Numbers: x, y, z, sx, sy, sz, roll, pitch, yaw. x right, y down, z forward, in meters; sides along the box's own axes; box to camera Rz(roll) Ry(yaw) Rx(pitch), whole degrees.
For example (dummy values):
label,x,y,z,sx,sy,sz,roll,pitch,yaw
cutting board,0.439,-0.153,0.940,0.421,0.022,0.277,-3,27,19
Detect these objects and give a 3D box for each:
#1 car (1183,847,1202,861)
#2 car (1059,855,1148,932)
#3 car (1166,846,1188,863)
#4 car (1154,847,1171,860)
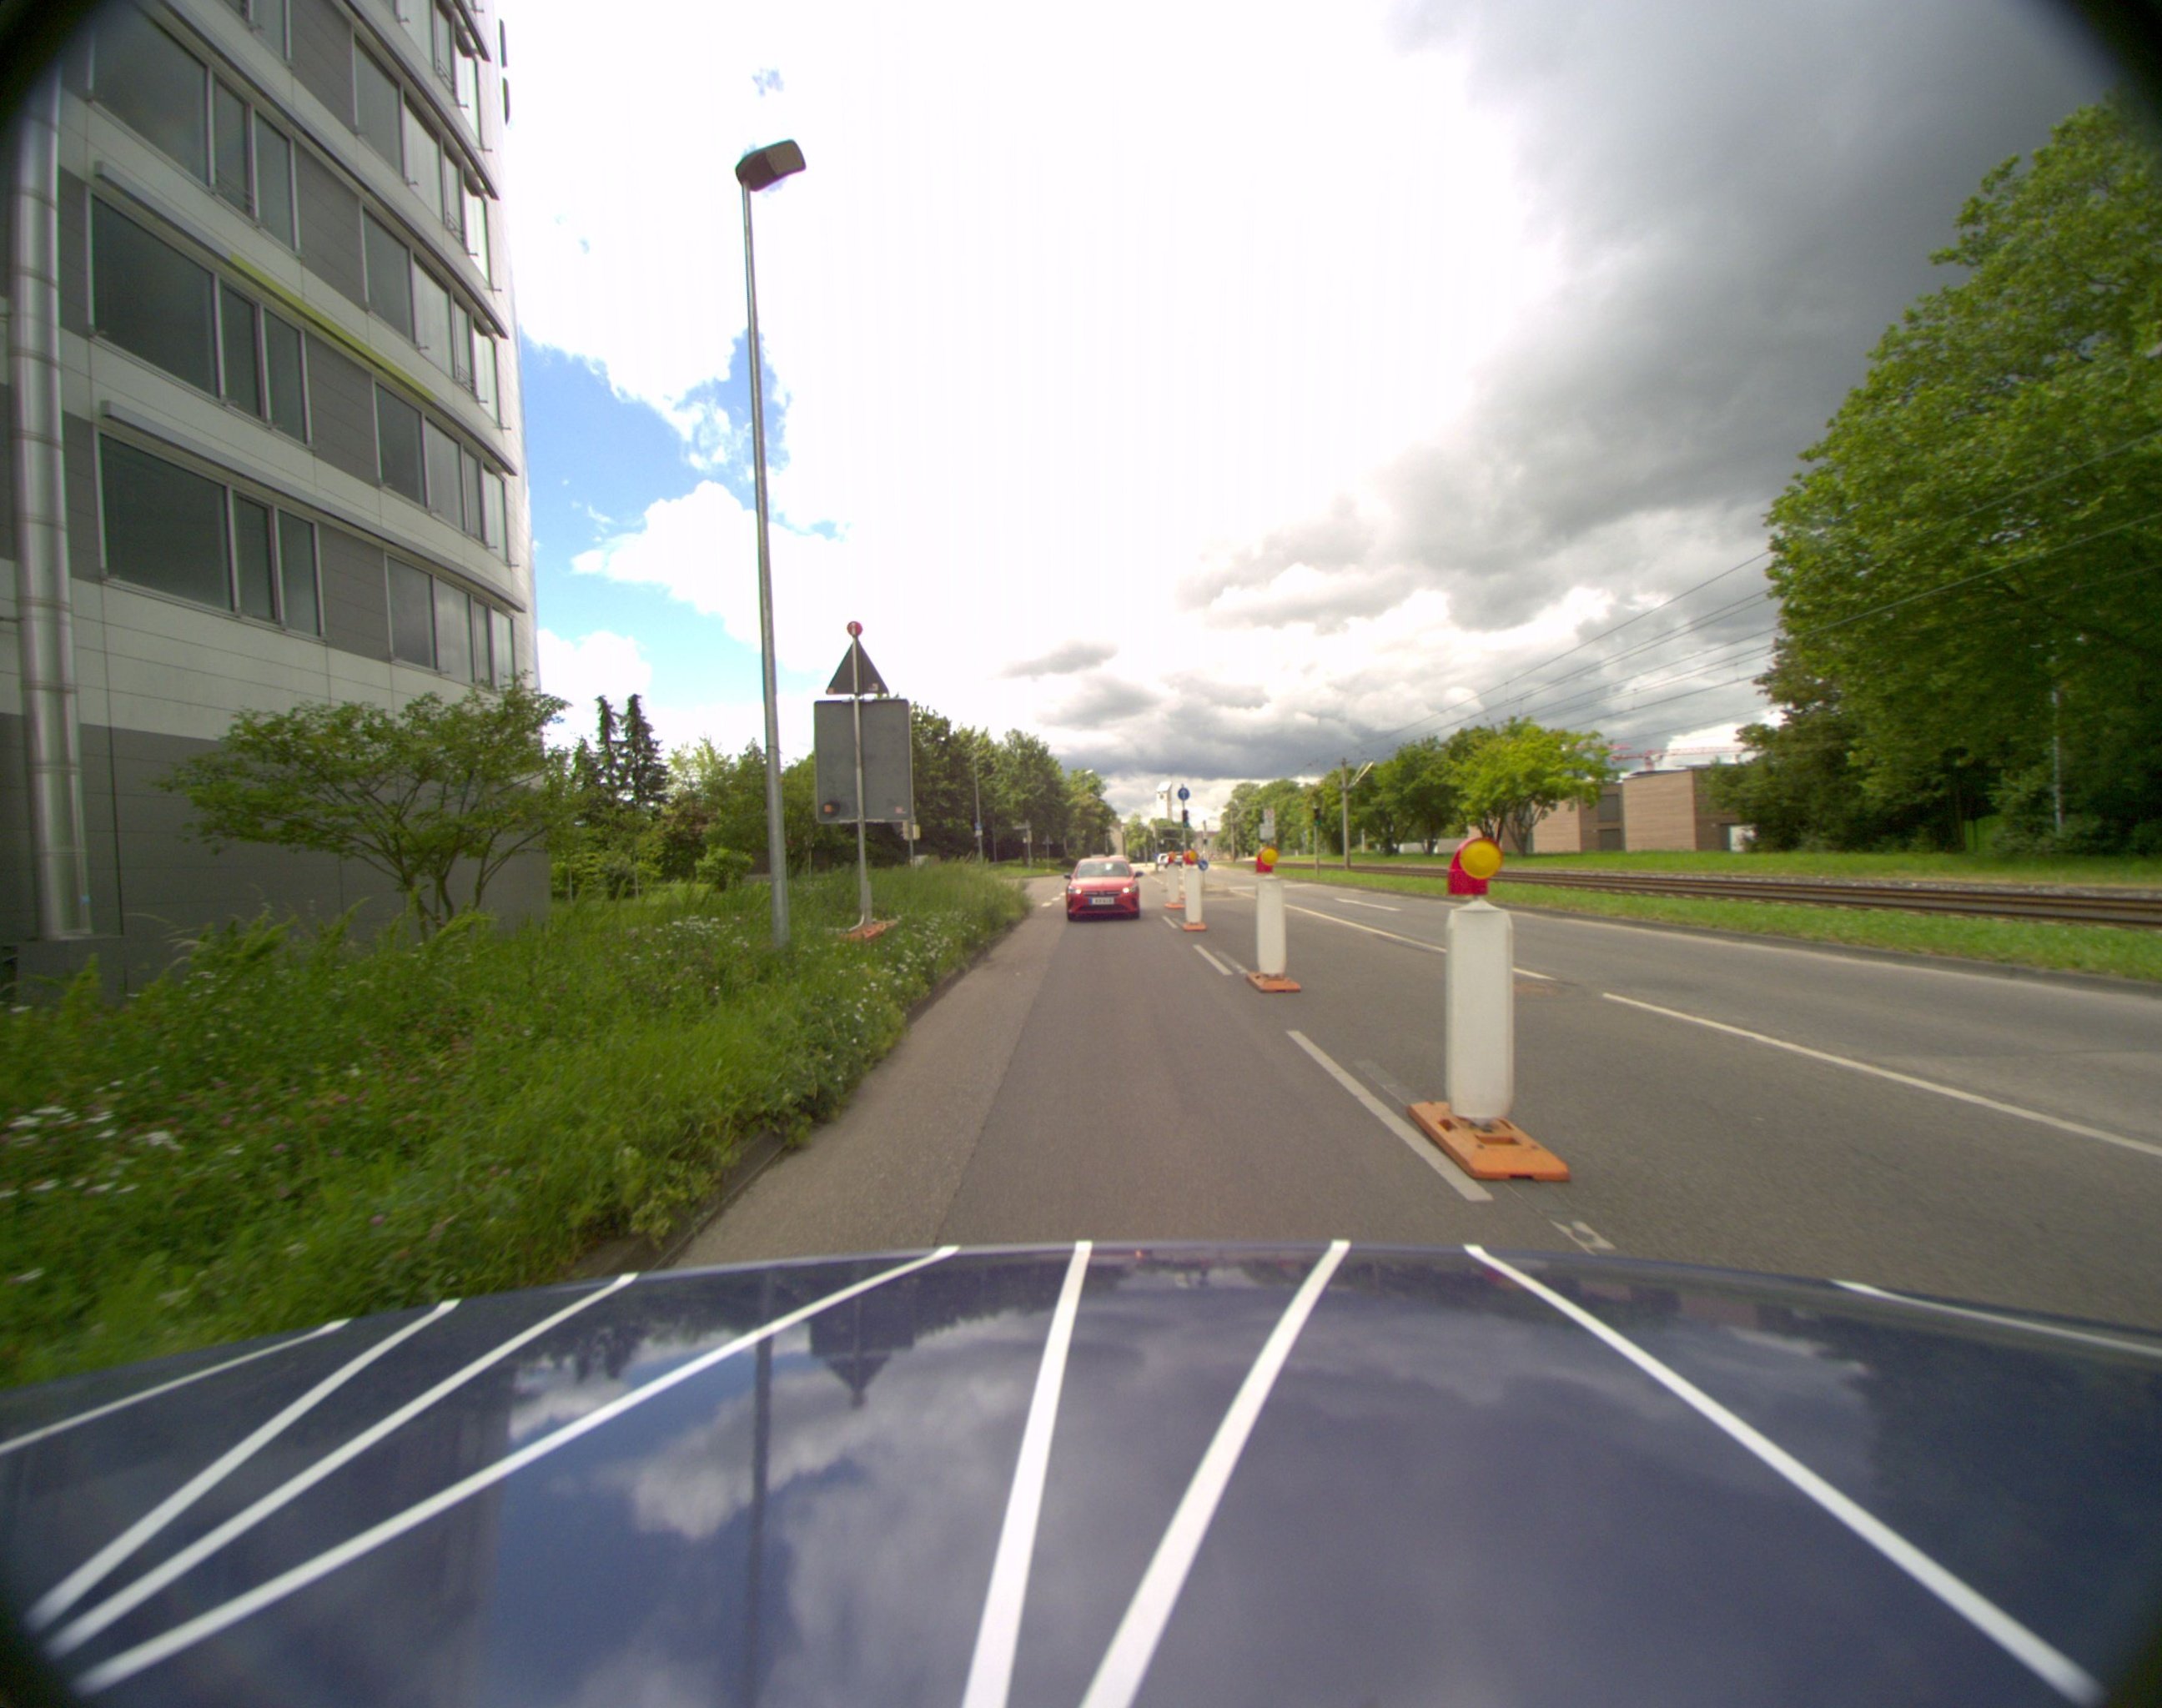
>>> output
label,x,y,z,sx,sy,sz,roll,pitch,yaw
car,14.082,-0.003,96.250,1.998,1.650,4.523,-3,1,5
car,0.611,0.825,18.261,1.789,1.453,4.853,-3,1,3
car,9.658,0.039,76.861,1.864,1.601,4.607,0,1,3
car,10.709,-0.087,100.004,1.733,1.603,4.263,-4,1,1
